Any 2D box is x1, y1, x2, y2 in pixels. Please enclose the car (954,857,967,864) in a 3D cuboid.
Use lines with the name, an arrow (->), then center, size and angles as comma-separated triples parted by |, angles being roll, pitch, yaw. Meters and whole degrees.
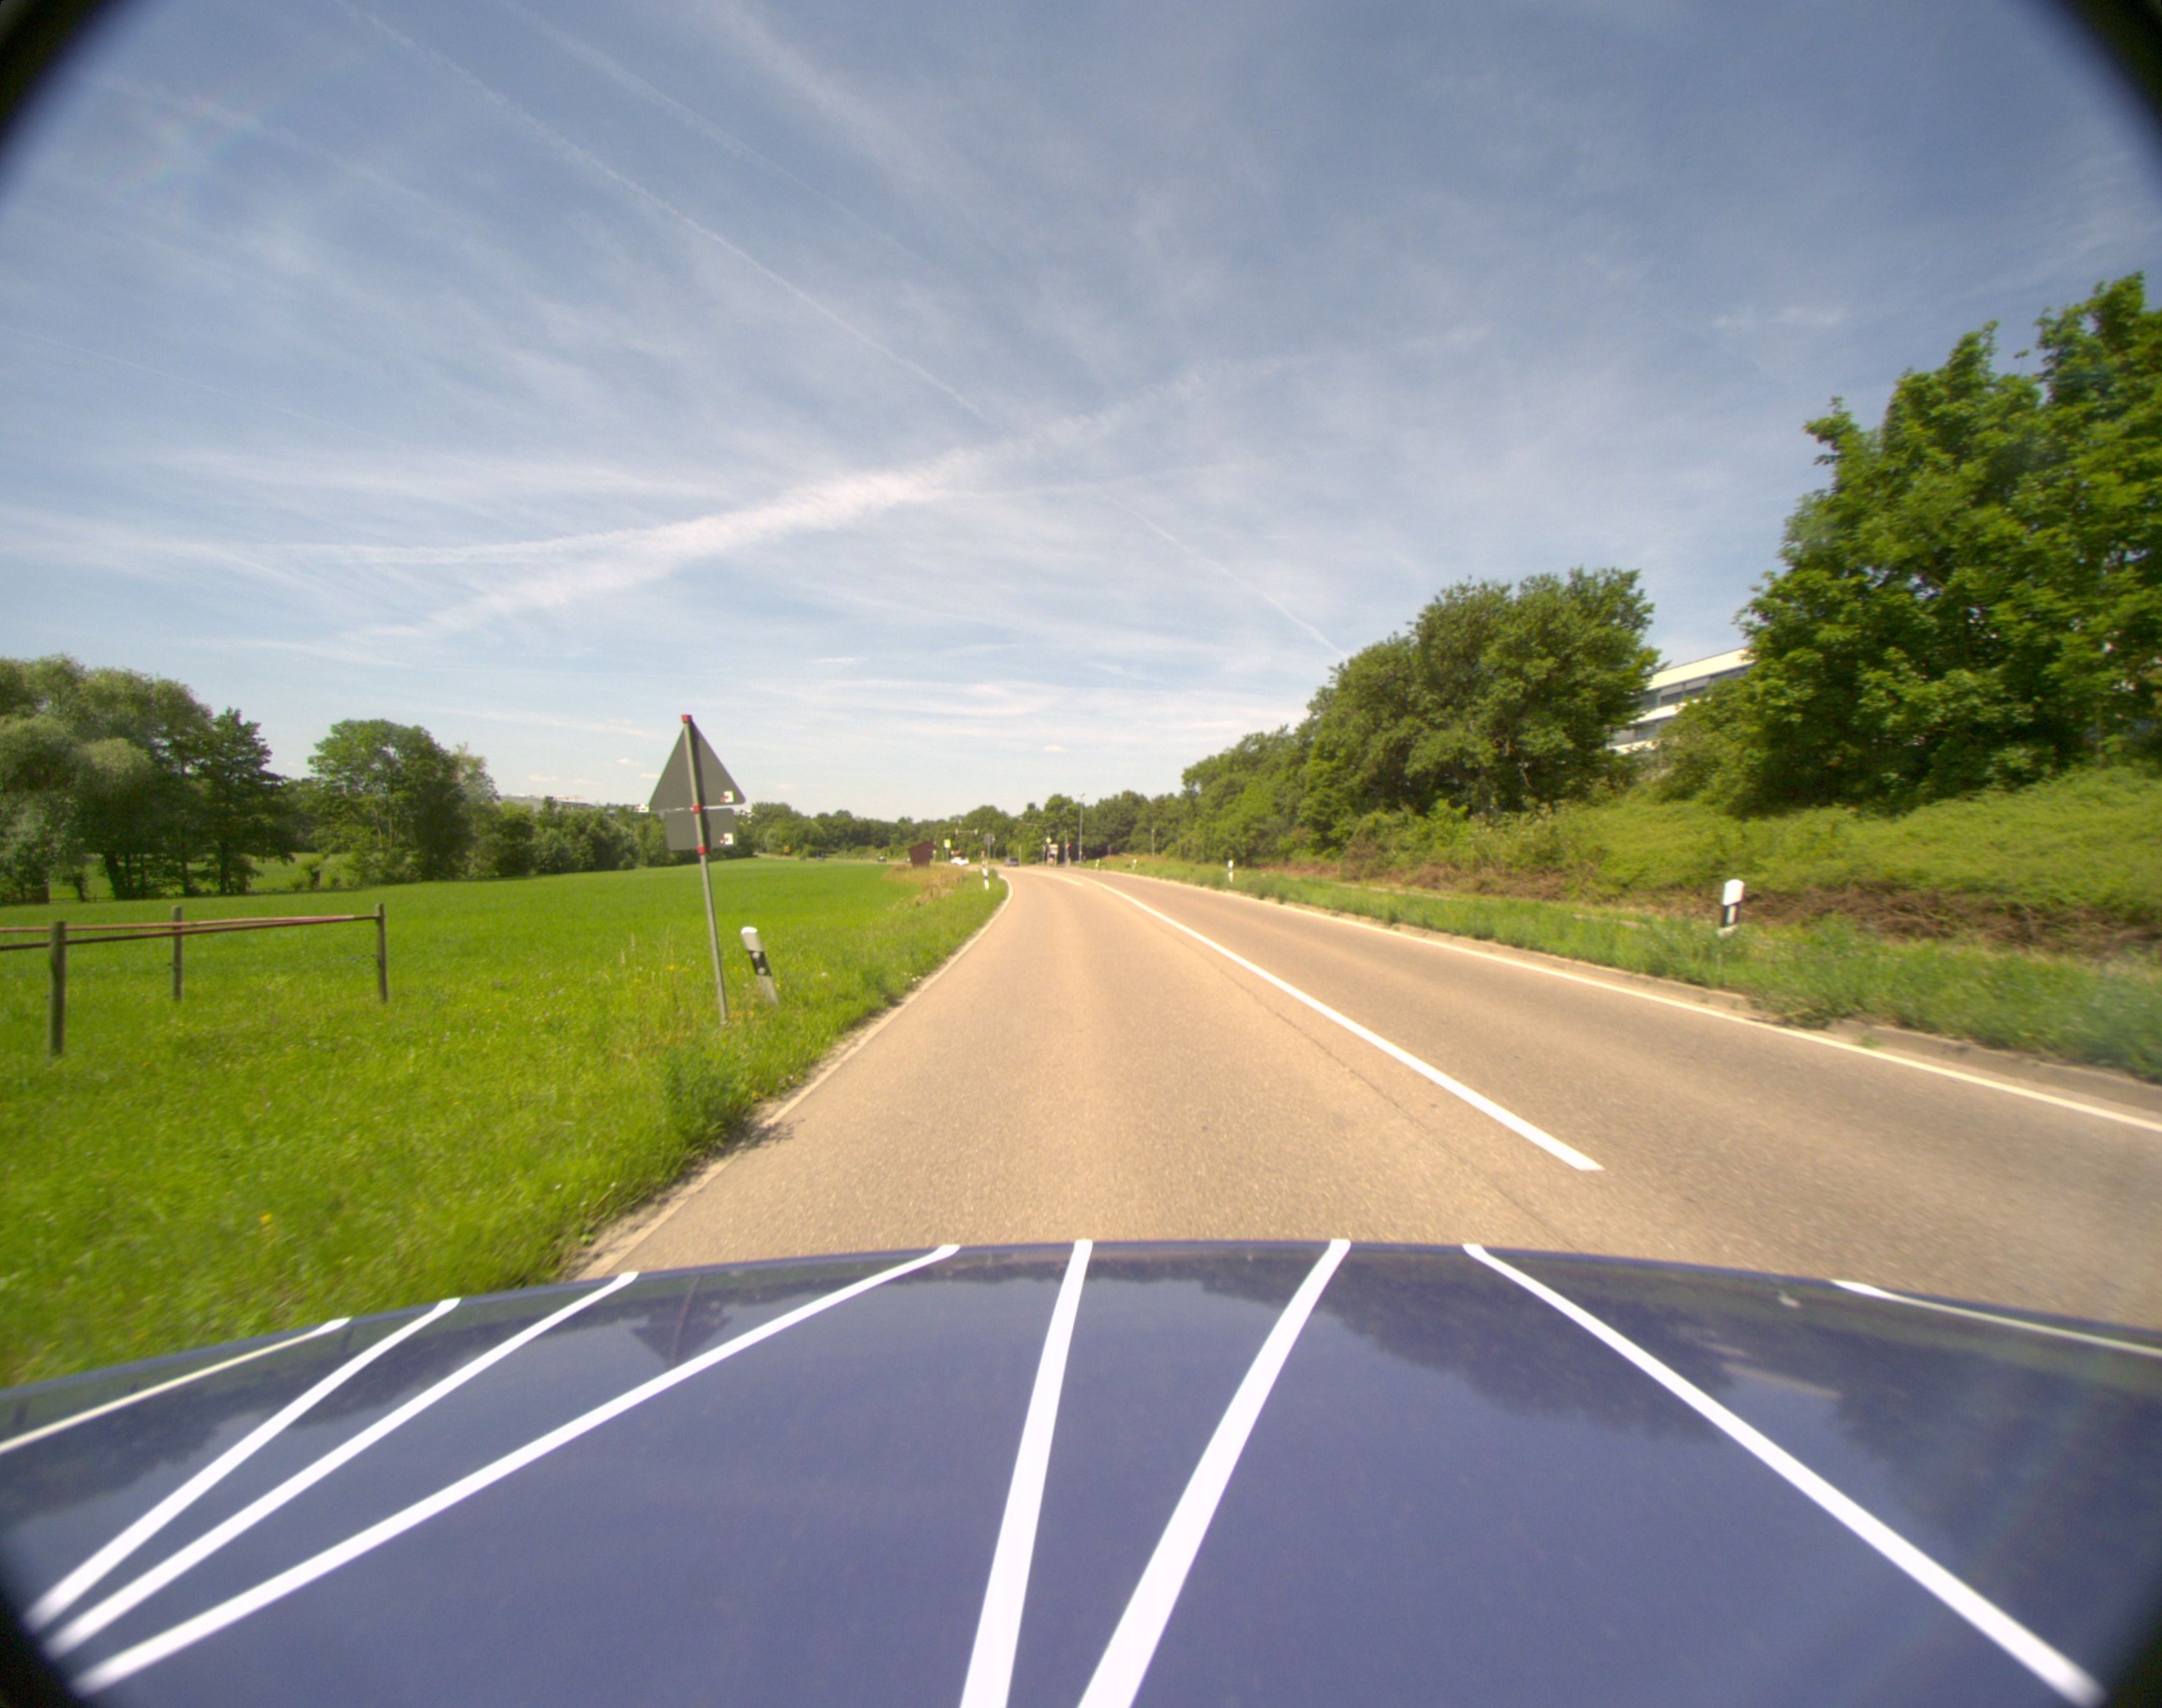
car -> -26.156, 1.412, 164.724 | 1.945, 1.539, 4.619 | -2, 0, -22

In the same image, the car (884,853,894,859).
car -> -57.771, 0.654, 228.444 | 1.983, 1.553, 4.181 | -2, 0, -24

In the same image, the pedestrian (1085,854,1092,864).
pedestrian -> 1.389, 0.966, 140.608 | 0.920, 1.726, 0.900 | -2, 1, 19

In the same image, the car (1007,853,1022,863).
car -> -10.434, 0.608, 118.827 | 1.761, 1.525, 4.223 | -2, 0, -14

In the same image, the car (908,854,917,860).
car -> -45.708, 0.773, 206.466 | 1.714, 1.474, 3.825 | -2, 0, -24

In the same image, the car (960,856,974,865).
car -> -21.604, 1.261, 143.789 | 2.002, 1.576, 3.994 | -2, 0, -19
